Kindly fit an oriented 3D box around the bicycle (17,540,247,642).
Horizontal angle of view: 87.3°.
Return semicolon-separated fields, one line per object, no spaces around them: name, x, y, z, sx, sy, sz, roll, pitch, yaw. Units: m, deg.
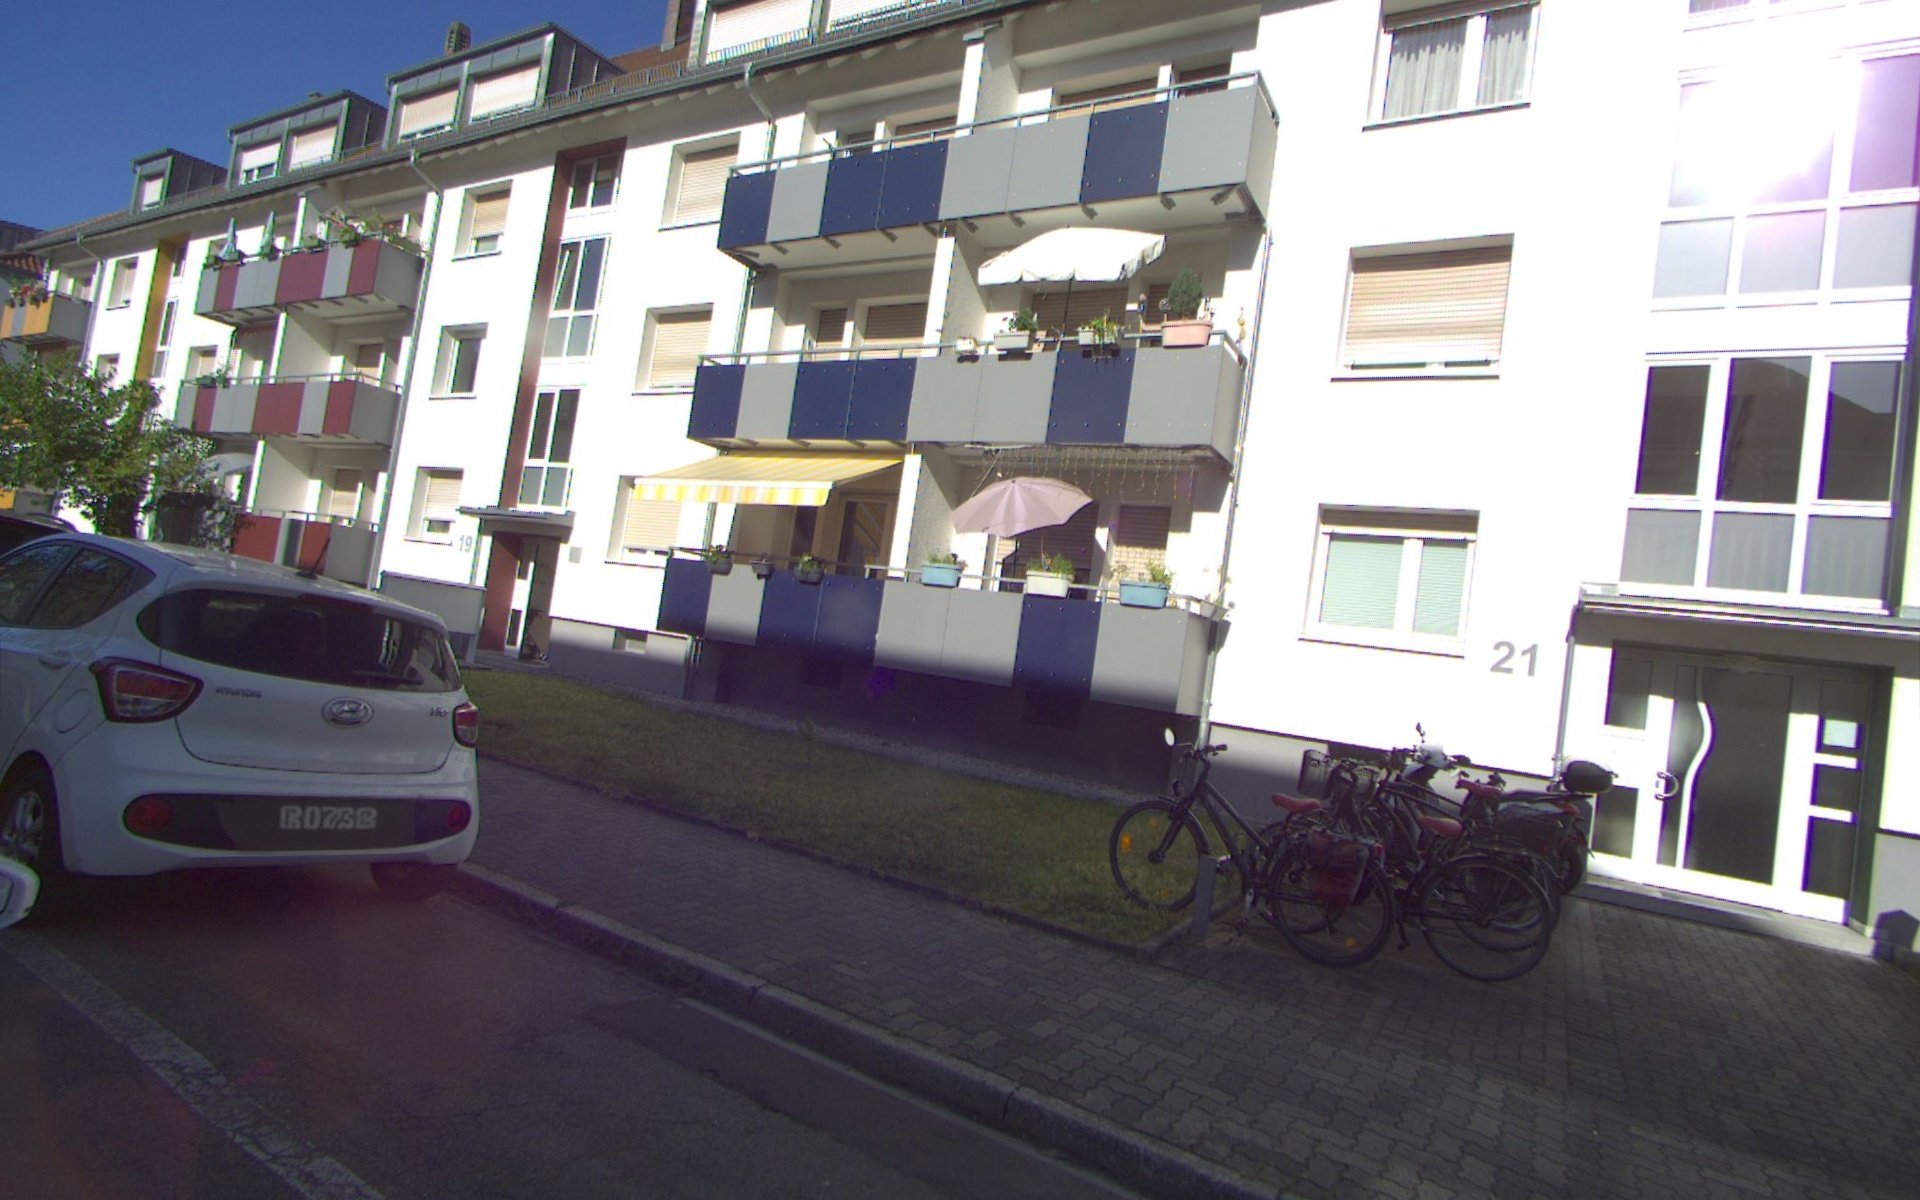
bicycle;-12.355;-0.097;15.113;0.866;1.142;2.426;6;-3;37

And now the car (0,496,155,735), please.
car;-8.324;-0.109;7.781;4.280;1.596;1.728;6;-3;31

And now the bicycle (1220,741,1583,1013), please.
bicycle;2.641;1.594;6.139;1.841;1.145;0.578;7;-1;31

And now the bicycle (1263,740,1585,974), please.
bicycle;3.154;1.688;6.939;1.841;1.133;0.545;7;-2;31

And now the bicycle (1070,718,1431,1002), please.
bicycle;1.662;1.427;5.915;1.842;1.184;0.545;6;-2;33

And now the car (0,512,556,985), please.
car;-4.125;0.493;5.075;3.789;1.523;1.721;6;-7;31

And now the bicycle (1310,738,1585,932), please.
bicycle;3.914;1.834;8.160;1.841;1.128;0.598;7;-3;31

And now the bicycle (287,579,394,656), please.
bicycle;-10.619;0.285;17.210;2.250;1.061;0.521;6;-1;32

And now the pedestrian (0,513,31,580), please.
pedestrian;-22.759;-1.282;24.119;0.354;1.511;0.451;5;-3;32

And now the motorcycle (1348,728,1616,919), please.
motorcycle;4.575;1.916;8.924;1.944;1.252;0.442;7;-2;32

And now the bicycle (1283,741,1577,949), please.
bicycle;3.494;1.769;7.567;1.841;1.095;0.539;7;0;31

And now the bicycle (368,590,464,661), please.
bicycle;-9.872;0.451;18.225;1.942;1.048;0.521;6;-2;32
